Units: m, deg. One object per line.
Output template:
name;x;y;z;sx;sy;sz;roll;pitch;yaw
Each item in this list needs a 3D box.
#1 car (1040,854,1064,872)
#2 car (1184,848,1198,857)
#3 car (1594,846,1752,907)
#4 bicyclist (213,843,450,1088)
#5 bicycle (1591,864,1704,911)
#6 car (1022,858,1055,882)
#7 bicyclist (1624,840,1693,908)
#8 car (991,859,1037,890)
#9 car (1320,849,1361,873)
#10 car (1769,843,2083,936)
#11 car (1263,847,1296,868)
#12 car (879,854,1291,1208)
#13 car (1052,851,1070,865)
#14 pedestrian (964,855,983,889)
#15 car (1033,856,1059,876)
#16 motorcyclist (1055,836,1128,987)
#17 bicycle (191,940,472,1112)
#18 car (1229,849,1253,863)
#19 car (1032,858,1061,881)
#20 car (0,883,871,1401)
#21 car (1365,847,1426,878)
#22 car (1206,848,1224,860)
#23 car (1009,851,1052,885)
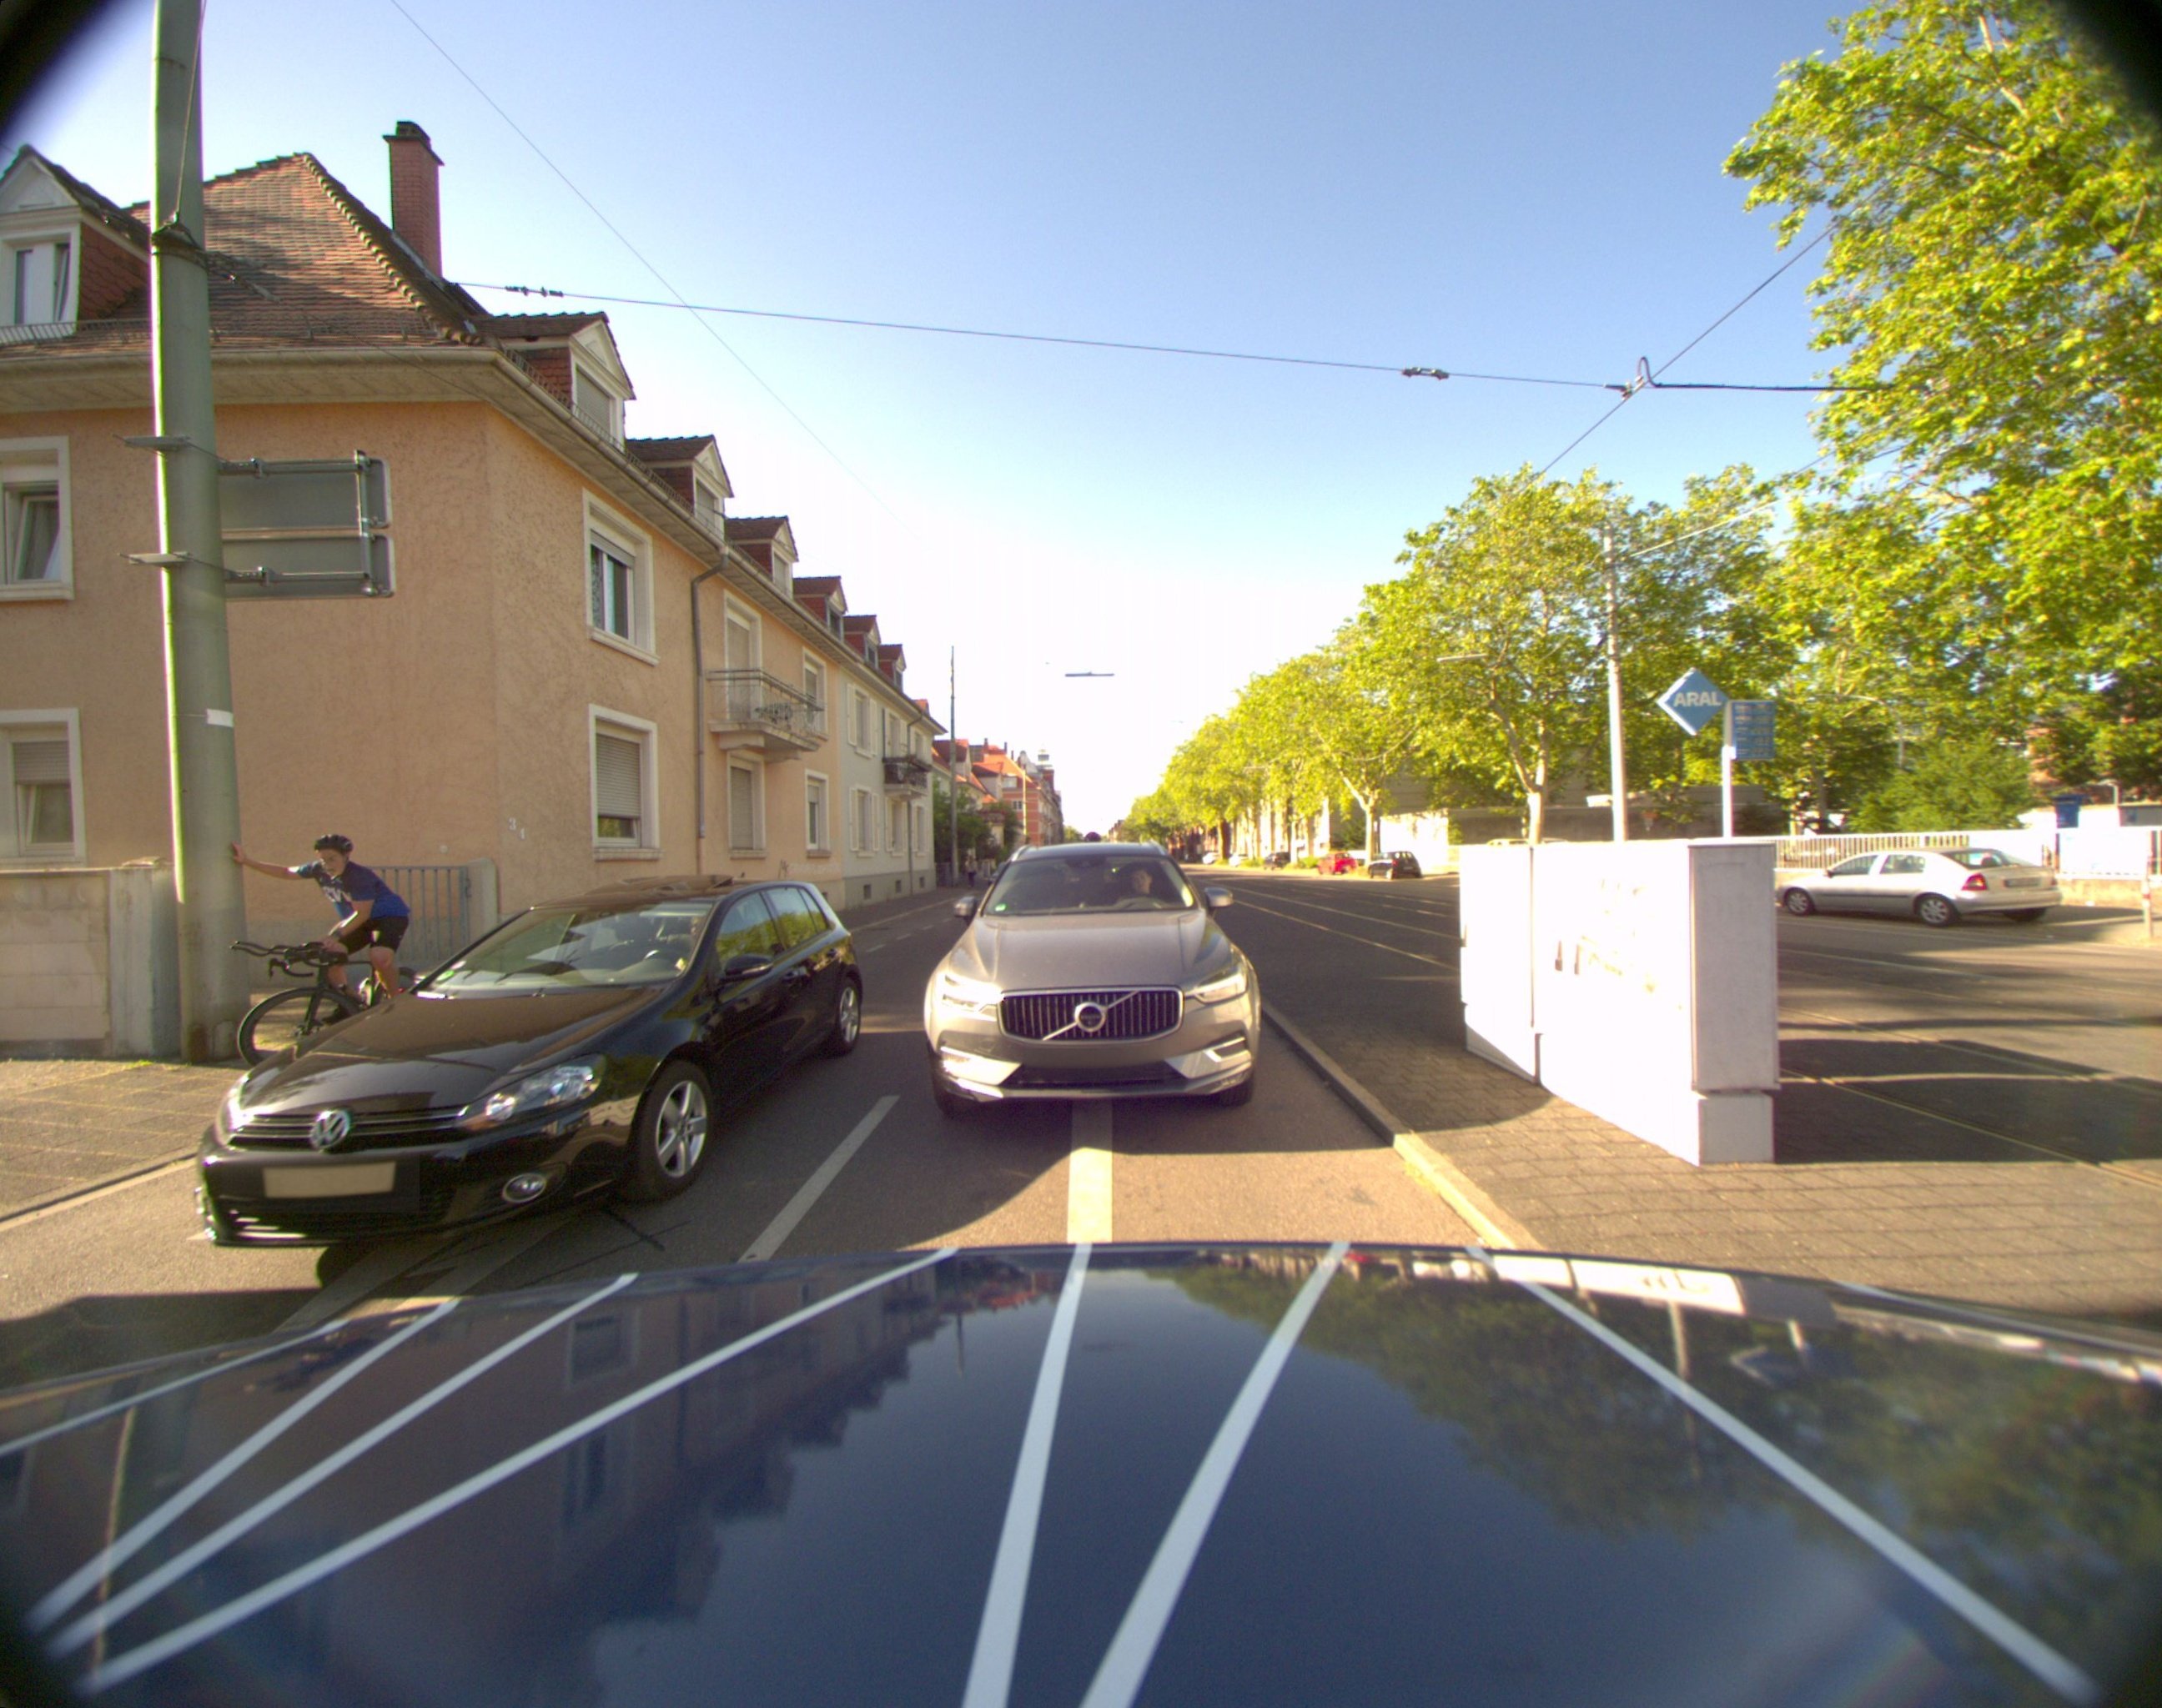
car;-2.551;0.769;66.829;1.875;1.477;4.000;-1;0;1
car;18.210;-0.219;125.627;1.802;1.504;4.000;-1;0;1
car;16.439;0.576;21.338;1.692;1.455;3.519;-4;0;2
bicyclist;-6.140;0.863;6.291;1.076;1.854;0.846;2;1;1
bicycle;14.447;0.815;19.507;1.059;1.095;2.519;0;0;1
car;-2.674;0.993;48.304;1.785;1.346;4.000;-1;0;1
bicyclist;14.462;0.491;19.051;0.934;1.628;1.028;-1;1;0
car;-3.202;0.966;37.026;1.647;1.357;3.868;-1;0;4
car;16.953;0.436;49.748;1.641;1.499;3.046;-1;0;1
car;16.253;0.598;14.990;1.795;1.455;3.966;-4;0;2
car;17.206;0.287;66.040;1.802;1.652;4.000;-1;0;1
car;0.049;0.852;5.801;1.940;1.650;4.321;-1;0;1
car;-2.192;0.452;85.491;1.875;1.477;4.000;-1;0;1
pedestrian;-5.261;0.870;37.357;0.694;1.652;1.098;-2;1;0
car;-2.741;0.947;60.676;1.785;1.468;4.000;-1;0;1
motorcyclist;0.140;0.700;9.929;0.827;1.832;1.159;-2;1;1
bicycle;-5.935;1.304;6.176;0.572;0.986;1.698;2;0;1
car;17.558;0.222;83.425;1.802;1.489;4.000;-1;0;1
car;-2.456;1.087;54.439;1.785;1.468;4.000;-1;0;1
car;-2.756;1.037;4.558;1.762;1.513;4.101;-1;0;1
car;16.892;0.423;40.979;1.826;1.521;3.653;-2;0;1
car;17.746;-0.009;100.670;1.802;1.504;4.000;-1;0;1
car;-2.779;0.717;42.885;1.751;1.767;5.351;-1;0;3
